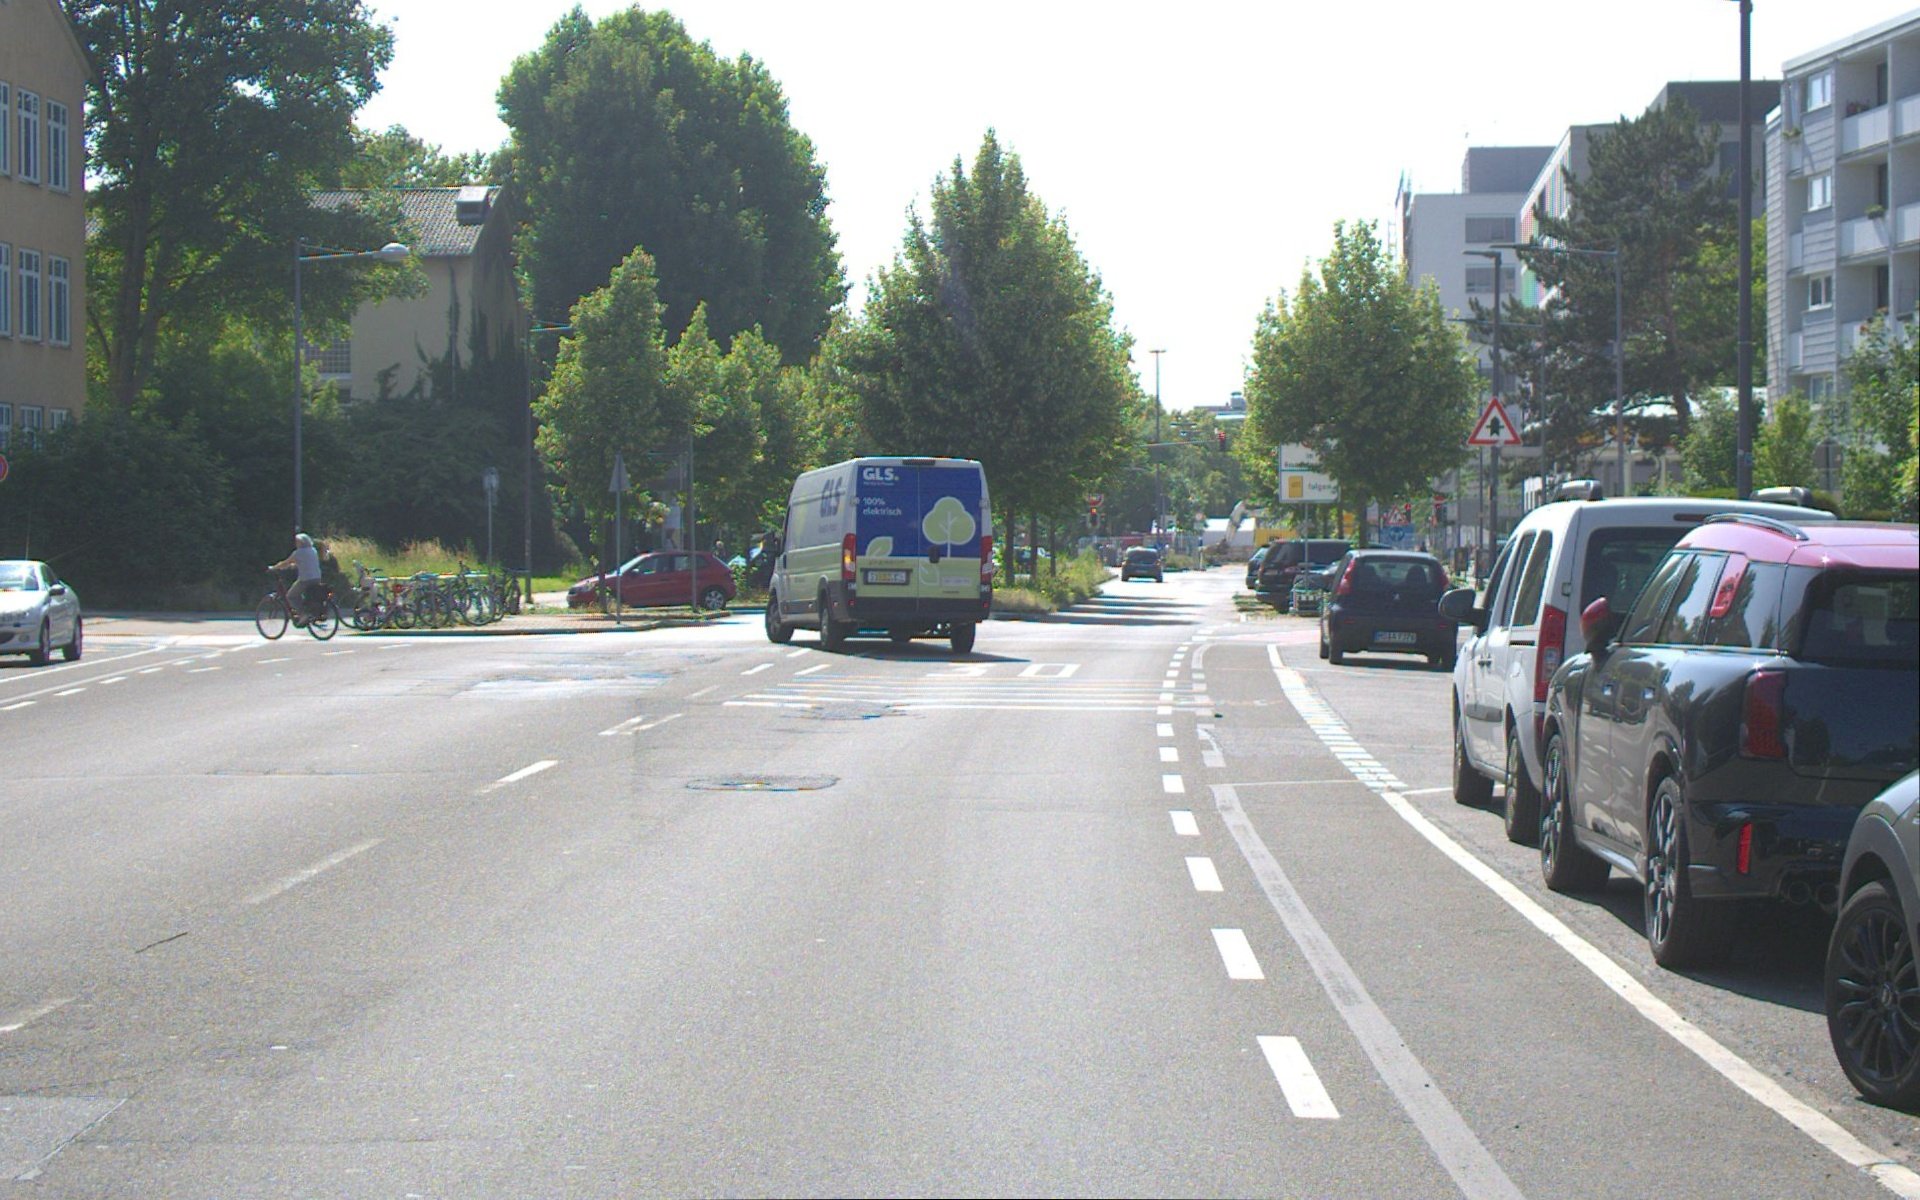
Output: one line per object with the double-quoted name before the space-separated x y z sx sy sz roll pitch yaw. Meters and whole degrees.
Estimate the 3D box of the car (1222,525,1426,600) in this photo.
"car" 8.143 -0.842 76.967 4.106 1.634 2.045 0 1 -29

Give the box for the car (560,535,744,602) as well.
"car" -7.265 -0.754 81.051 3.986 1.461 2.001 -1 2 -16

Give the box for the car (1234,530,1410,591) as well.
"car" 10.138 -1.106 96.191 4.730 1.654 1.753 0 1 -29

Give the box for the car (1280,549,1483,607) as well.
"car" 9.076 -0.482 74.084 3.986 1.232 1.753 0 1 -21

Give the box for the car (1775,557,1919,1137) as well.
"car" 3.324 0.639 7.897 1.762 1.438 4.069 -1 2 -2

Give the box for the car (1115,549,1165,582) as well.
"car" 7.756 -1.483 148.520 1.993 1.393 4.000 0 1 1

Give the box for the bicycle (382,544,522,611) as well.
"bicycle" -9.658 -0.426 65.365 2.544 1.252 0.739 0 1 2

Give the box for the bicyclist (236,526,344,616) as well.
"bicyclist" -10.662 -0.460 54.738 1.353 1.398 0.958 0 2 29

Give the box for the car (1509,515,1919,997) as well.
"car" 3.336 0.466 13.564 1.762 1.588 4.313 0 2 2

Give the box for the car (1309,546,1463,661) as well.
"car" 5.459 0.017 44.445 1.617 1.385 4.000 1 1 2

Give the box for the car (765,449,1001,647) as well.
"car" -1.160 -0.719 47.386 2.275 2.515 6.137 -1 1 -10

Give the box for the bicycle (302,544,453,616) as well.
"bicycle" -10.446 -0.355 61.727 2.544 1.235 0.739 -1 1 2

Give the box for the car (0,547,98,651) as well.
"car" -12.635 -0.035 45.317 1.720 1.262 4.001 -1 2 -3

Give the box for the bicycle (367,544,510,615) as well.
"bicycle" -9.689 -0.380 63.921 2.515 1.252 0.739 -1 1 2

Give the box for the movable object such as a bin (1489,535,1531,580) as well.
"movable object such as a bin" 20.408 -1.583 127.499 1.307 1.586 1.396 -2 1 2

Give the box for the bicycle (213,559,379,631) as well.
"bicycle" -10.573 -0.079 54.735 2.548 1.109 0.958 0 2 28

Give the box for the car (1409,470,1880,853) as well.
"car" 3.661 0.288 19.184 1.762 1.820 4.598 2 0 2

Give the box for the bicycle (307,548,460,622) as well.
"bicycle" -10.154 -0.272 60.623 2.544 1.252 0.739 -1 1 2

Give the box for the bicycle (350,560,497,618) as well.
"bicycle" -9.798 -0.203 62.812 2.544 0.984 0.739 -1 1 2

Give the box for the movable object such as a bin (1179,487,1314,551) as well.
"movable object such as a bin" 20.862 -5.883 249.957 9.677 4.534 3.163 1 1 6

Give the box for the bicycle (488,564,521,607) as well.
"bicycle" -9.731 -0.319 73.436 0.520 0.900 1.271 -1 0 0
